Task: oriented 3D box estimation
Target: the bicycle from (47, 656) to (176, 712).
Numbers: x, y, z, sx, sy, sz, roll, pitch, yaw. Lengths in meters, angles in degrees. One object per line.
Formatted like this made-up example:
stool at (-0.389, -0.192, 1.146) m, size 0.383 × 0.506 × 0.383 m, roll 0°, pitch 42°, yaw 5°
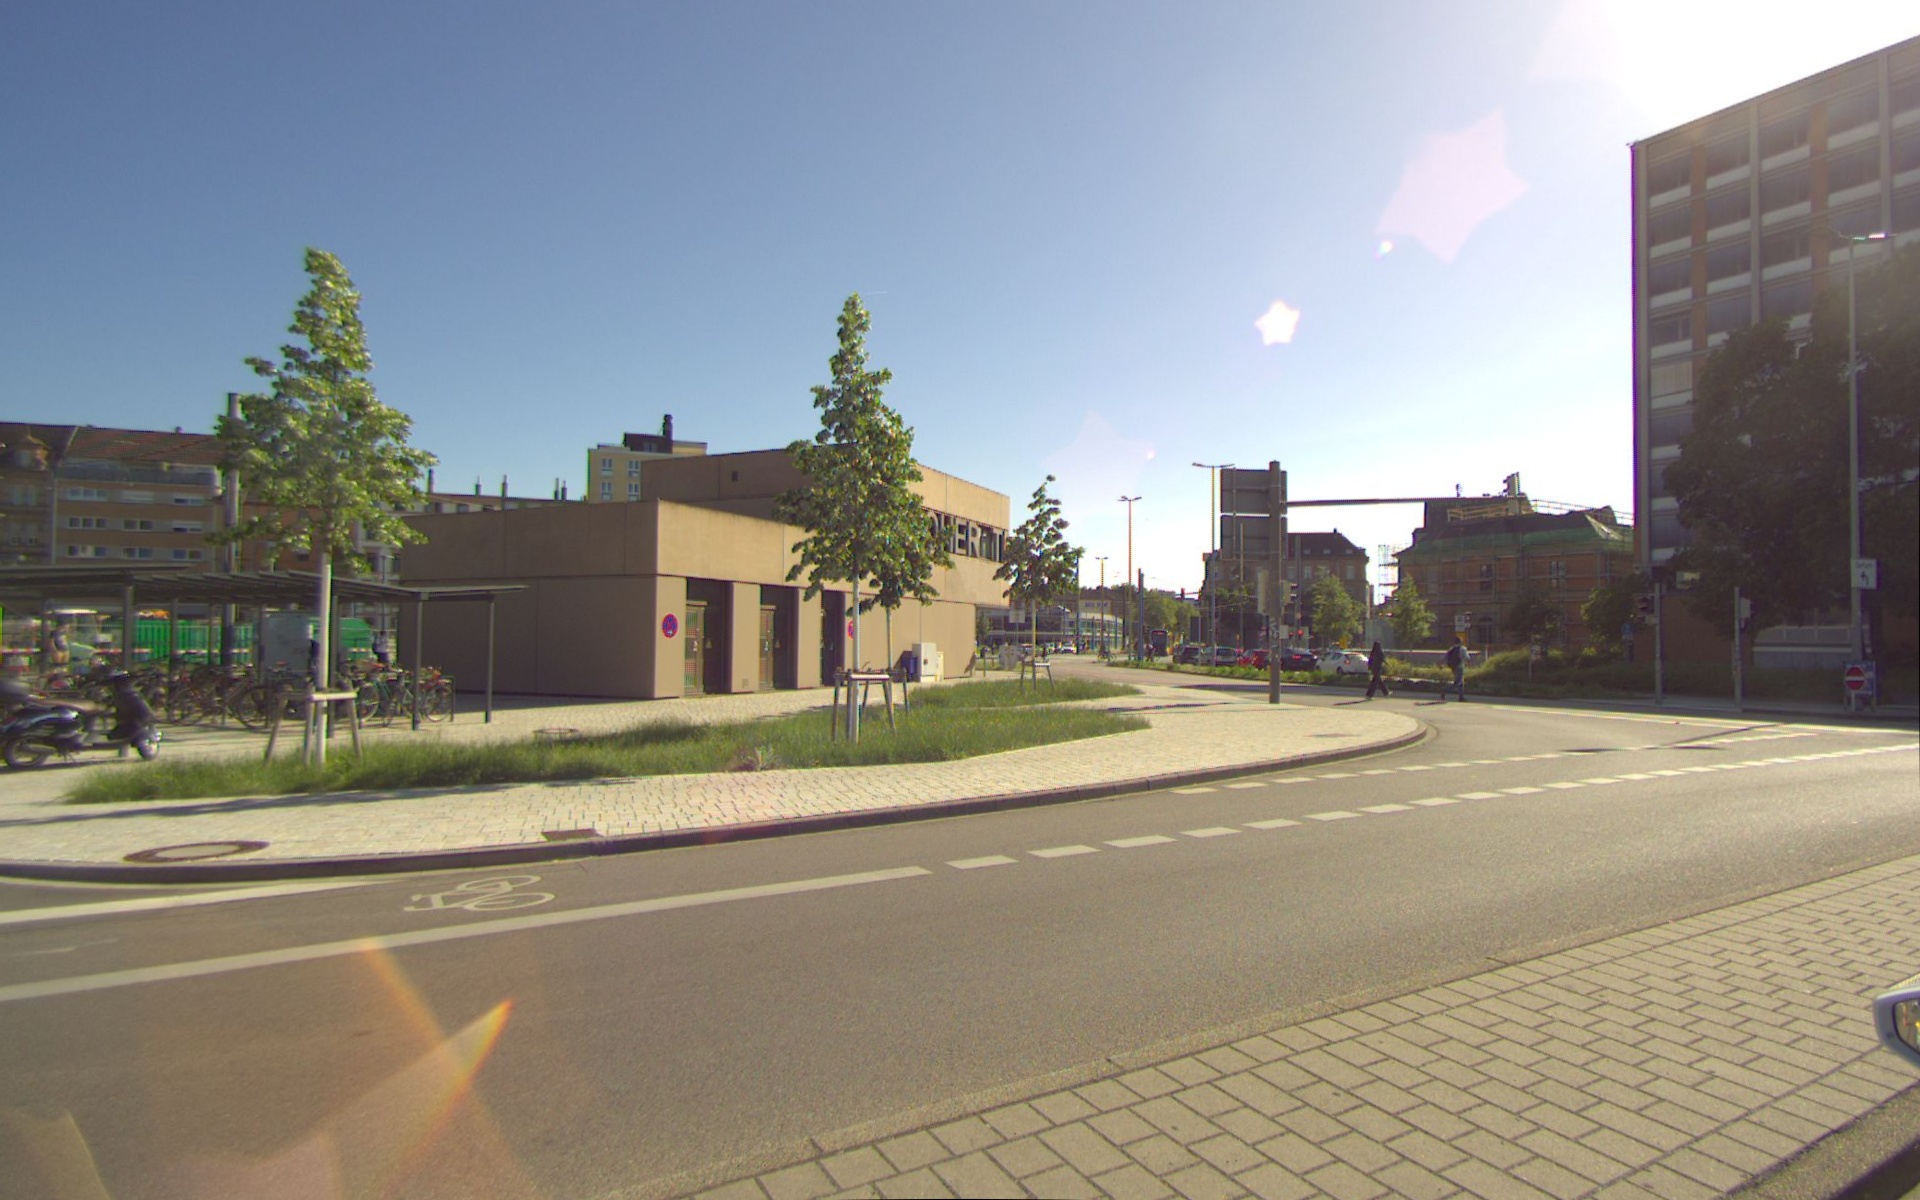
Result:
bicycle at (-16.704, 1.638, 19.836) m, size 0.449 × 1.022 × 1.902 m, roll 0°, pitch -2°, yaw 26°

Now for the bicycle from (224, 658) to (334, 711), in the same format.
bicycle at (-14.077, 1.728, 20.827) m, size 0.449 × 1.022 × 1.902 m, roll 0°, pitch -2°, yaw 26°

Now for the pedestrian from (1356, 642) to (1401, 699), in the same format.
pedestrian at (11.628, 1.943, 27.909) m, size 0.964 × 1.547 × 0.652 m, roll 1°, pitch -2°, yaw -16°

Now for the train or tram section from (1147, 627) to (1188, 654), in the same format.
train or tram section at (27.782, 5.299, 133.950) m, size 2.651 × 3.275 × 10.589 m, roll 2°, pitch 0°, yaw 27°

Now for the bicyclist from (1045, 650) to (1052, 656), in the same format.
bicyclist at (7.455, 4.470, 84.695) m, size 0.560 × 0.556 × 0.431 m, roll 0°, pitch -2°, yaw 11°

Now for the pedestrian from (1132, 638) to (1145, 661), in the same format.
pedestrian at (15.004, 4.176, 84.508) m, size 0.862 × 1.889 × 0.730 m, roll 1°, pitch -2°, yaw -9°

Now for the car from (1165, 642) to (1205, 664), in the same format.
car at (16.774, 3.929, 74.997) m, size 1.760 × 1.528 × 3.880 m, roll 1°, pitch -2°, yaw -6°

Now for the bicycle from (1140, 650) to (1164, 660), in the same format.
bicycle at (19.230, 5.500, 100.532) m, size 2.207 × 0.894 × 0.892 m, roll 1°, pitch -2°, yaw -19°

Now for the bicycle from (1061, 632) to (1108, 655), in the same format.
bicycle at (11.503, 4.012, 92.816) m, size 3.922 × 2.040 × 2.000 m, roll 0°, pitch -2°, yaw 22°

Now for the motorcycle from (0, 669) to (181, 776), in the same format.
motorcycle at (-10.924, 1.475, 12.468) m, size 0.508 × 1.166 × 1.947 m, roll 0°, pitch -2°, yaw 25°

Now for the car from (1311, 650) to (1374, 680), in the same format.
car at (21.247, 3.594, 55.933) m, size 1.760 × 1.528 × 3.880 m, roll 1°, pitch -2°, yaw -6°

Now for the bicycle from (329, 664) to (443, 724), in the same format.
bicycle at (-10.711, 1.734, 18.817) m, size 0.449 × 1.022 × 1.902 m, roll 0°, pitch -2°, yaw 26°

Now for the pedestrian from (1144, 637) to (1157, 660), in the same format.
pedestrian at (15.808, 4.005, 83.268) m, size 0.861 × 1.889 × 0.731 m, roll 1°, pitch -2°, yaw -4°

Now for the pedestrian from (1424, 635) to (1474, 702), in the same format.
pedestrian at (13.088, 1.819, 26.905) m, size 1.044 × 1.753 × 0.652 m, roll 1°, pitch -2°, yaw -16°

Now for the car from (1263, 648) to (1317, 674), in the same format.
car at (20.573, 3.768, 62.789) m, size 1.760 × 1.528 × 3.880 m, roll 1°, pitch -2°, yaw -6°

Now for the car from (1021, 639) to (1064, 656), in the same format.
car at (9.375, 5.385, 113.886) m, size 4.460 × 1.870 × 2.067 m, roll 2°, pitch -2°, yaw -28°

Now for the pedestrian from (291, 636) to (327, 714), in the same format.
pedestrian at (-17.233, 1.969, 26.620) m, size 0.710 × 2.040 × 0.682 m, roll 1°, pitch -2°, yaw -30°

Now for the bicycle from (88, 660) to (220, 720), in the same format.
bicycle at (-15.085, 1.655, 18.862) m, size 0.449 × 1.022 × 1.902 m, roll 0°, pitch -2°, yaw 26°

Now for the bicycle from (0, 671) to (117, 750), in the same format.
bicycle at (-13.033, 1.536, 14.013) m, size 0.449 × 1.022 × 1.902 m, roll 0°, pitch -2°, yaw 26°

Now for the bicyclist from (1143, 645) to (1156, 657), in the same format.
bicyclist at (18.974, 5.117, 100.463) m, size 0.953 × 1.182 × 0.892 m, roll 1°, pitch -2°, yaw -19°

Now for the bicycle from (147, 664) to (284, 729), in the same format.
bicycle at (-12.902, 1.648, 17.488) m, size 0.449 × 1.022 × 1.902 m, roll 0°, pitch -2°, yaw 26°

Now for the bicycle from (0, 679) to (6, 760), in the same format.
bicycle at (-12.749, 1.484, 12.001) m, size 0.449 × 1.022 × 1.902 m, roll 0°, pitch -2°, yaw 26°

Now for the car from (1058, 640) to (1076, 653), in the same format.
car at (15.053, 6.519, 141.393) m, size 1.709 × 1.672 × 4.002 m, roll 0°, pitch -2°, yaw 17°

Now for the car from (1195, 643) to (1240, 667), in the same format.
car at (17.455, 3.694, 68.270) m, size 1.760 × 1.528 × 3.880 m, roll 1°, pitch -2°, yaw -6°

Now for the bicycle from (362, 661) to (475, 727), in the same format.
bicycle at (-9.931, 1.696, 18.488) m, size 0.449 × 1.112 × 1.902 m, roll 0°, pitch -2°, yaw 26°

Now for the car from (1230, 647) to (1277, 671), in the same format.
car at (20.203, 4.032, 69.250) m, size 1.760 × 1.528 × 3.880 m, roll 1°, pitch -2°, yaw -6°

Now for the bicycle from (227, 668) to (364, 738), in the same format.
bicycle at (-10.914, 1.662, 16.568) m, size 0.449 × 1.022 × 1.902 m, roll 0°, pitch -2°, yaw 26°

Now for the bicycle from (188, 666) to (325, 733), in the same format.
bicycle at (-11.893, 1.652, 17.057) m, size 0.449 × 1.022 × 1.902 m, roll 0°, pitch -2°, yaw 26°

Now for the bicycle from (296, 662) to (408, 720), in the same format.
bicycle at (-11.801, 1.743, 19.575) m, size 0.449 × 1.022 × 1.902 m, roll 0°, pitch -2°, yaw 26°

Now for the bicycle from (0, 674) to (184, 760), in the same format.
bicycle at (-11.818, 1.556, 13.721) m, size 0.449 × 1.022 × 1.902 m, roll 0°, pitch -2°, yaw 26°

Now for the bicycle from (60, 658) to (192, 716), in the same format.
bicycle at (-15.921, 1.643, 19.238) m, size 0.449 × 1.022 × 1.902 m, roll 0°, pitch -2°, yaw 26°

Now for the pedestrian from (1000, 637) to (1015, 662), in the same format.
pedestrian at (3.858, 4.048, 81.726) m, size 1.023 × 2.040 × 0.724 m, roll 1°, pitch -2°, yaw -9°

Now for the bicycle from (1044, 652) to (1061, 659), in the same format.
bicycle at (7.817, 4.646, 84.618) m, size 1.381 × 0.556 × 0.435 m, roll 0°, pitch -2°, yaw 11°

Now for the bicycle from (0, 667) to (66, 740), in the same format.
bicycle at (-14.163, 1.508, 14.444) m, size 0.449 × 1.022 × 1.902 m, roll 0°, pitch -2°, yaw 26°
